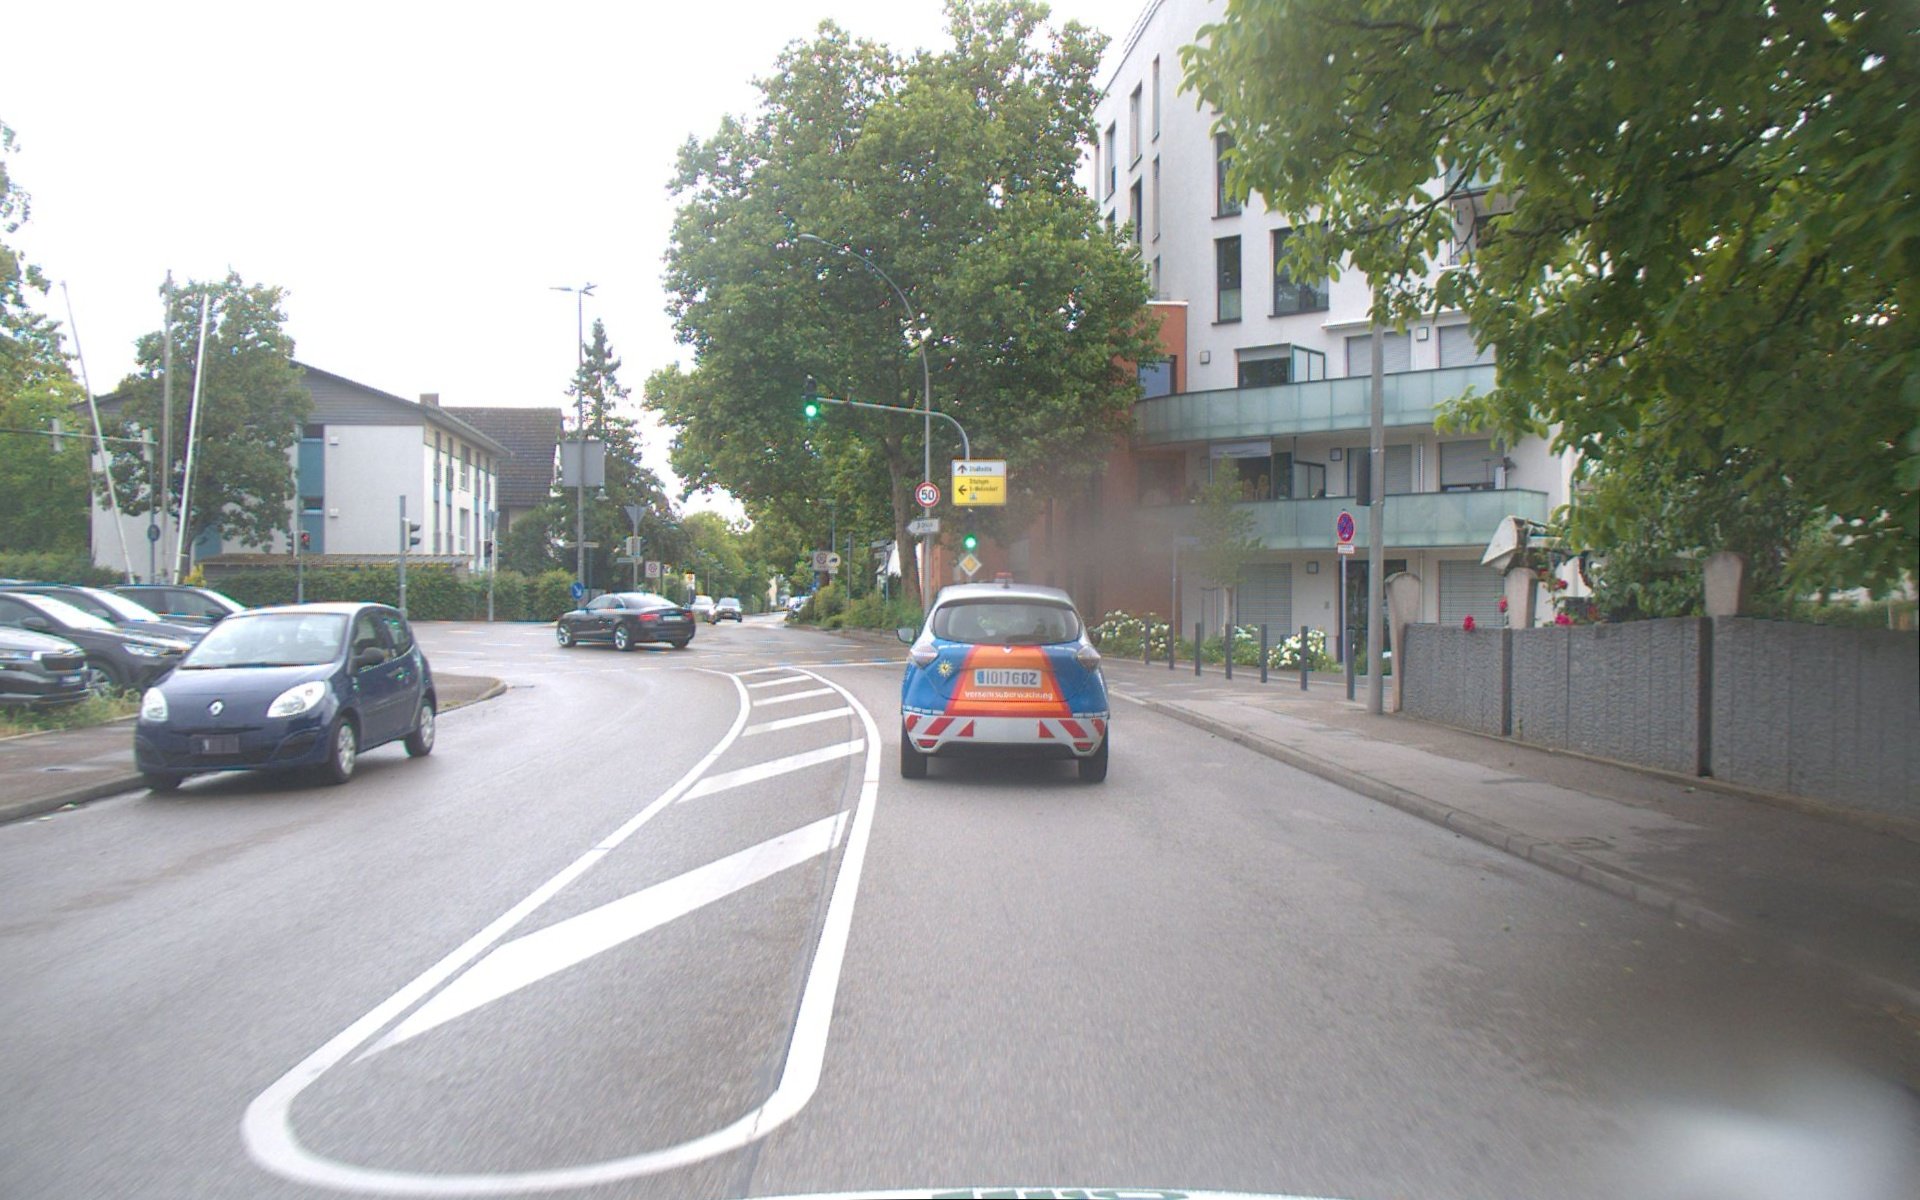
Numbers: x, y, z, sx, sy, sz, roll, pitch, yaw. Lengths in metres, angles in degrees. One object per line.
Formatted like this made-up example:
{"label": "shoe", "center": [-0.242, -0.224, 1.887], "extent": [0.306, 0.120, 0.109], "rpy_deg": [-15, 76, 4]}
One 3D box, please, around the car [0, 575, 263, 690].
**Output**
{"label": "car", "center": [-12.582, 0.449, 24.375], "extent": [3.868, 1.557, 1.690], "rpy_deg": [1, 1, -4]}

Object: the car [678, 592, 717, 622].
{"label": "car", "center": [-13.789, 0.380, 86.870], "extent": [1.906, 1.477, 4.290], "rpy_deg": [2, -1, -9]}

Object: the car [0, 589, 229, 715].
{"label": "car", "center": [-11.623, 0.620, 20.953], "extent": [3.906, 1.466, 1.803], "rpy_deg": [1, 1, -2]}

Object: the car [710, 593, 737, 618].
{"label": "car", "center": [-16.728, 0.404, 117.162], "extent": [1.842, 1.698, 3.706], "rpy_deg": [1, 0, -9]}

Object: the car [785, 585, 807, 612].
{"label": "car", "center": [-12.658, -0.140, 127.435], "extent": [1.612, 2.052, 3.710], "rpy_deg": [1, 1, -6]}

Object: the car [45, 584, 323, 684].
{"label": "car", "center": [-12.705, 0.553, 27.322], "extent": [3.879, 1.557, 1.616], "rpy_deg": [1, 1, -14]}

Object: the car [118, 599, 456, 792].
{"label": "car", "center": [-5.781, 0.736, 14.684], "extent": [1.594, 1.458, 3.682], "rpy_deg": [0, 0, -2]}

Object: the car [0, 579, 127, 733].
{"label": "car", "center": [-11.498, 0.554, 18.009], "extent": [3.906, 1.571, 1.803], "rpy_deg": [1, 1, -2]}

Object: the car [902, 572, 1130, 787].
{"label": "car", "center": [0.357, 0.573, 14.603], "extent": [1.711, 1.608, 3.999], "rpy_deg": [-1, 1, -2]}

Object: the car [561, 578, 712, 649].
{"label": "car", "center": [-8.143, 0.293, 41.387], "extent": [1.983, 1.601, 3.939], "rpy_deg": [0, 2, -42]}
